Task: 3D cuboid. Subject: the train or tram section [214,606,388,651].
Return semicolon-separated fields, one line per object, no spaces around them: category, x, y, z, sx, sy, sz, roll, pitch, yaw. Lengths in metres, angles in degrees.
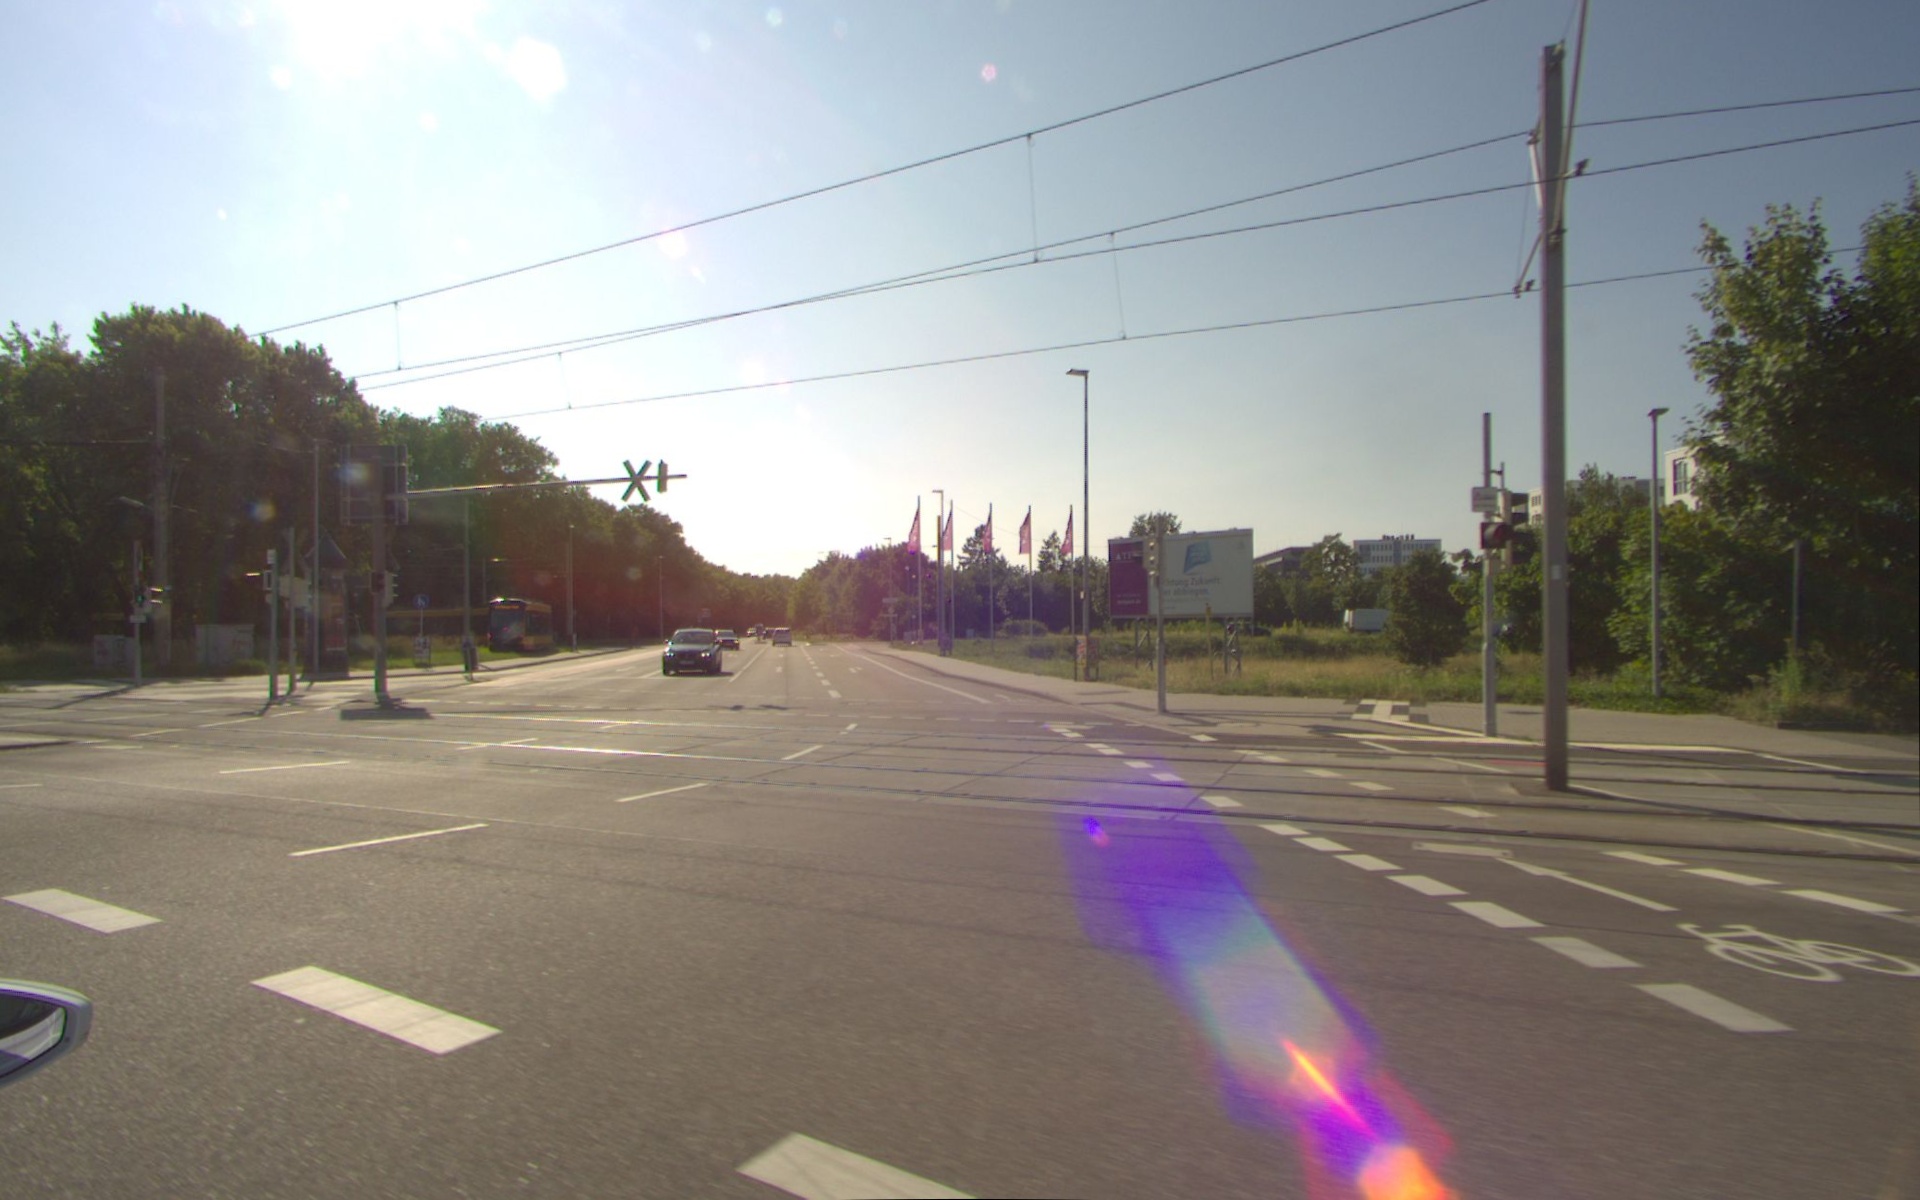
train or tram section;-55.737;2.404;85.063;12.007;3.626;3.051;0;-1;-14

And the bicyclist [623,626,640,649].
bicyclist;-28.815;3.275;87.830;1.078;2.039;1.141;-1;-2;-3

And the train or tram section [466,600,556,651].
train or tram section;-34.659;2.017;76.905;3.021;3.625;12.126;0;-2;-41

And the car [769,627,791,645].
car;-16.297;3.271;90.769;1.820;1.583;4.204;0;-1;-8

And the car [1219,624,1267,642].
car;26.722;3.098;94.524;3.922;1.616;2.000;0;-1;-4

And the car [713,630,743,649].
car;-17.118;2.931;74.102;1.716;1.352;4.306;0;-1;-8

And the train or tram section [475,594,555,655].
train or tram section;-29.071;1.637;65.976;2.999;3.625;11.838;0;-1;-15

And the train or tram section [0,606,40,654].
train or tram section;-76.330;2.231;73.850;12.298;3.625;3.030;1;-1;-39

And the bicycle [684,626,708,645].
bicycle;-24.471;3.307;92.812;2.583;1.735;0.789;-1;-1;41

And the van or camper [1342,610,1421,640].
van or camper;39.831;2.387;94.738;6.611;2.815;2.240;0;0;0

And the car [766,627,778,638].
car;-25.667;4.410;136.666;1.576;1.401;3.528;0;-1;-9

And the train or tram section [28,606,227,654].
train or tram section;-66.837;2.372;80.920;12.071;3.625;3.035;1;-1;-34

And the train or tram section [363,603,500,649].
train or tram section;-44.250;2.223;83.785;12.020;3.626;3.048;-1;-1;21

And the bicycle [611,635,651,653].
bicycle;-28.815;3.867;87.808;3.166;1.472;1.131;-1;-2;-3

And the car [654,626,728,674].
car;-9.879;1.797;37.146;2.005;1.583;4.860;0;-1;-8
